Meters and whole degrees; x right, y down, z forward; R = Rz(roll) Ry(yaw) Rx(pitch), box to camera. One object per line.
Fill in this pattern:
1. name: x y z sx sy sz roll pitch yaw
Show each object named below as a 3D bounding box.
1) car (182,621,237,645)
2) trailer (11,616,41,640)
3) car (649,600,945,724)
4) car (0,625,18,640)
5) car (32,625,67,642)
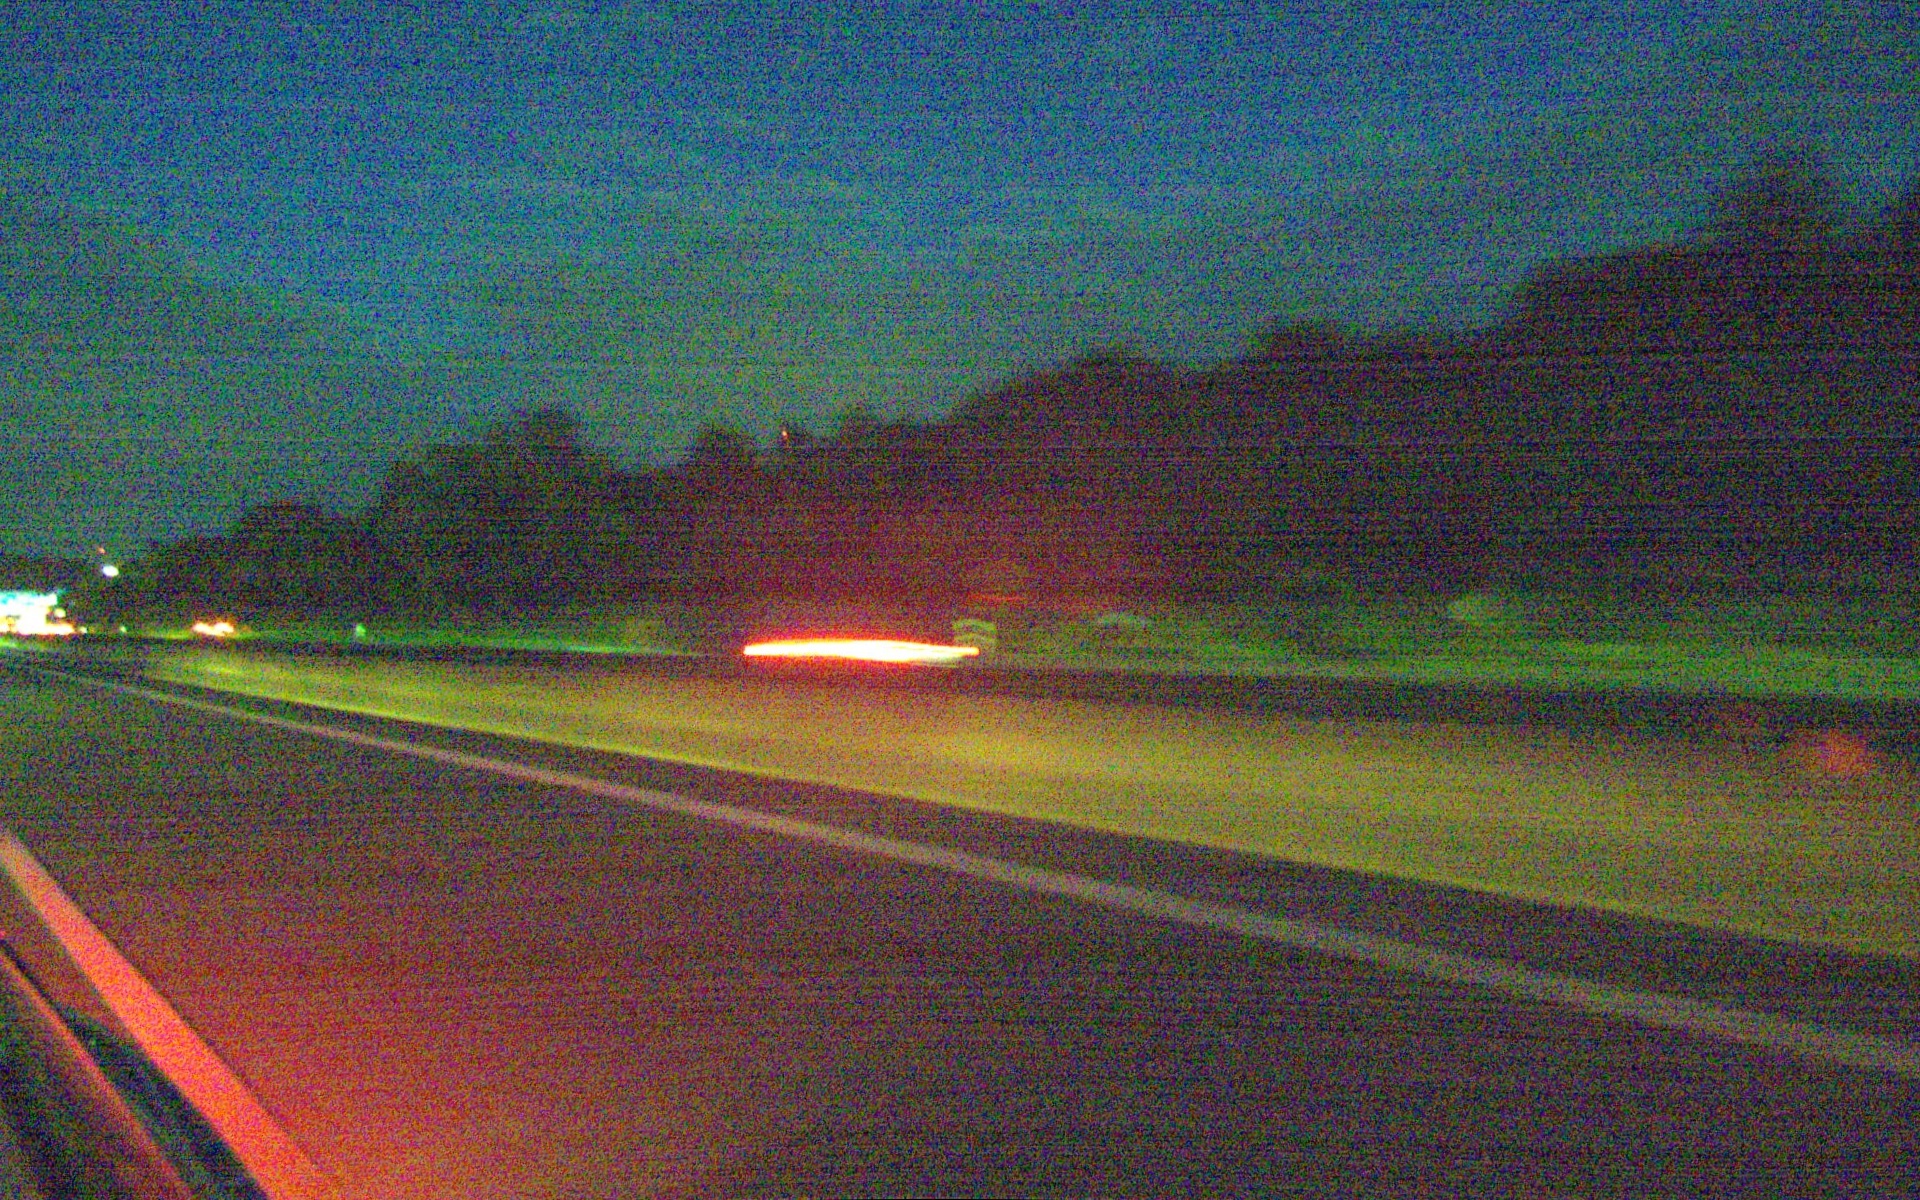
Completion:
1. car: -55.318 2.412 74.574 4.885 1.681 2.221 -2 -1 41
2. trailer: -159.906 4.851 173.200 13.885 4.010 2.823 -2 -1 43
3. car: -2.808 0.916 16.719 4.885 1.732 2.221 -1 -1 41
4. car: -140.445 4.772 148.990 5.715 2.117 2.220 -2 -1 43
5. car: -96.460 3.527 107.218 4.887 1.681 2.221 -2 -1 41
